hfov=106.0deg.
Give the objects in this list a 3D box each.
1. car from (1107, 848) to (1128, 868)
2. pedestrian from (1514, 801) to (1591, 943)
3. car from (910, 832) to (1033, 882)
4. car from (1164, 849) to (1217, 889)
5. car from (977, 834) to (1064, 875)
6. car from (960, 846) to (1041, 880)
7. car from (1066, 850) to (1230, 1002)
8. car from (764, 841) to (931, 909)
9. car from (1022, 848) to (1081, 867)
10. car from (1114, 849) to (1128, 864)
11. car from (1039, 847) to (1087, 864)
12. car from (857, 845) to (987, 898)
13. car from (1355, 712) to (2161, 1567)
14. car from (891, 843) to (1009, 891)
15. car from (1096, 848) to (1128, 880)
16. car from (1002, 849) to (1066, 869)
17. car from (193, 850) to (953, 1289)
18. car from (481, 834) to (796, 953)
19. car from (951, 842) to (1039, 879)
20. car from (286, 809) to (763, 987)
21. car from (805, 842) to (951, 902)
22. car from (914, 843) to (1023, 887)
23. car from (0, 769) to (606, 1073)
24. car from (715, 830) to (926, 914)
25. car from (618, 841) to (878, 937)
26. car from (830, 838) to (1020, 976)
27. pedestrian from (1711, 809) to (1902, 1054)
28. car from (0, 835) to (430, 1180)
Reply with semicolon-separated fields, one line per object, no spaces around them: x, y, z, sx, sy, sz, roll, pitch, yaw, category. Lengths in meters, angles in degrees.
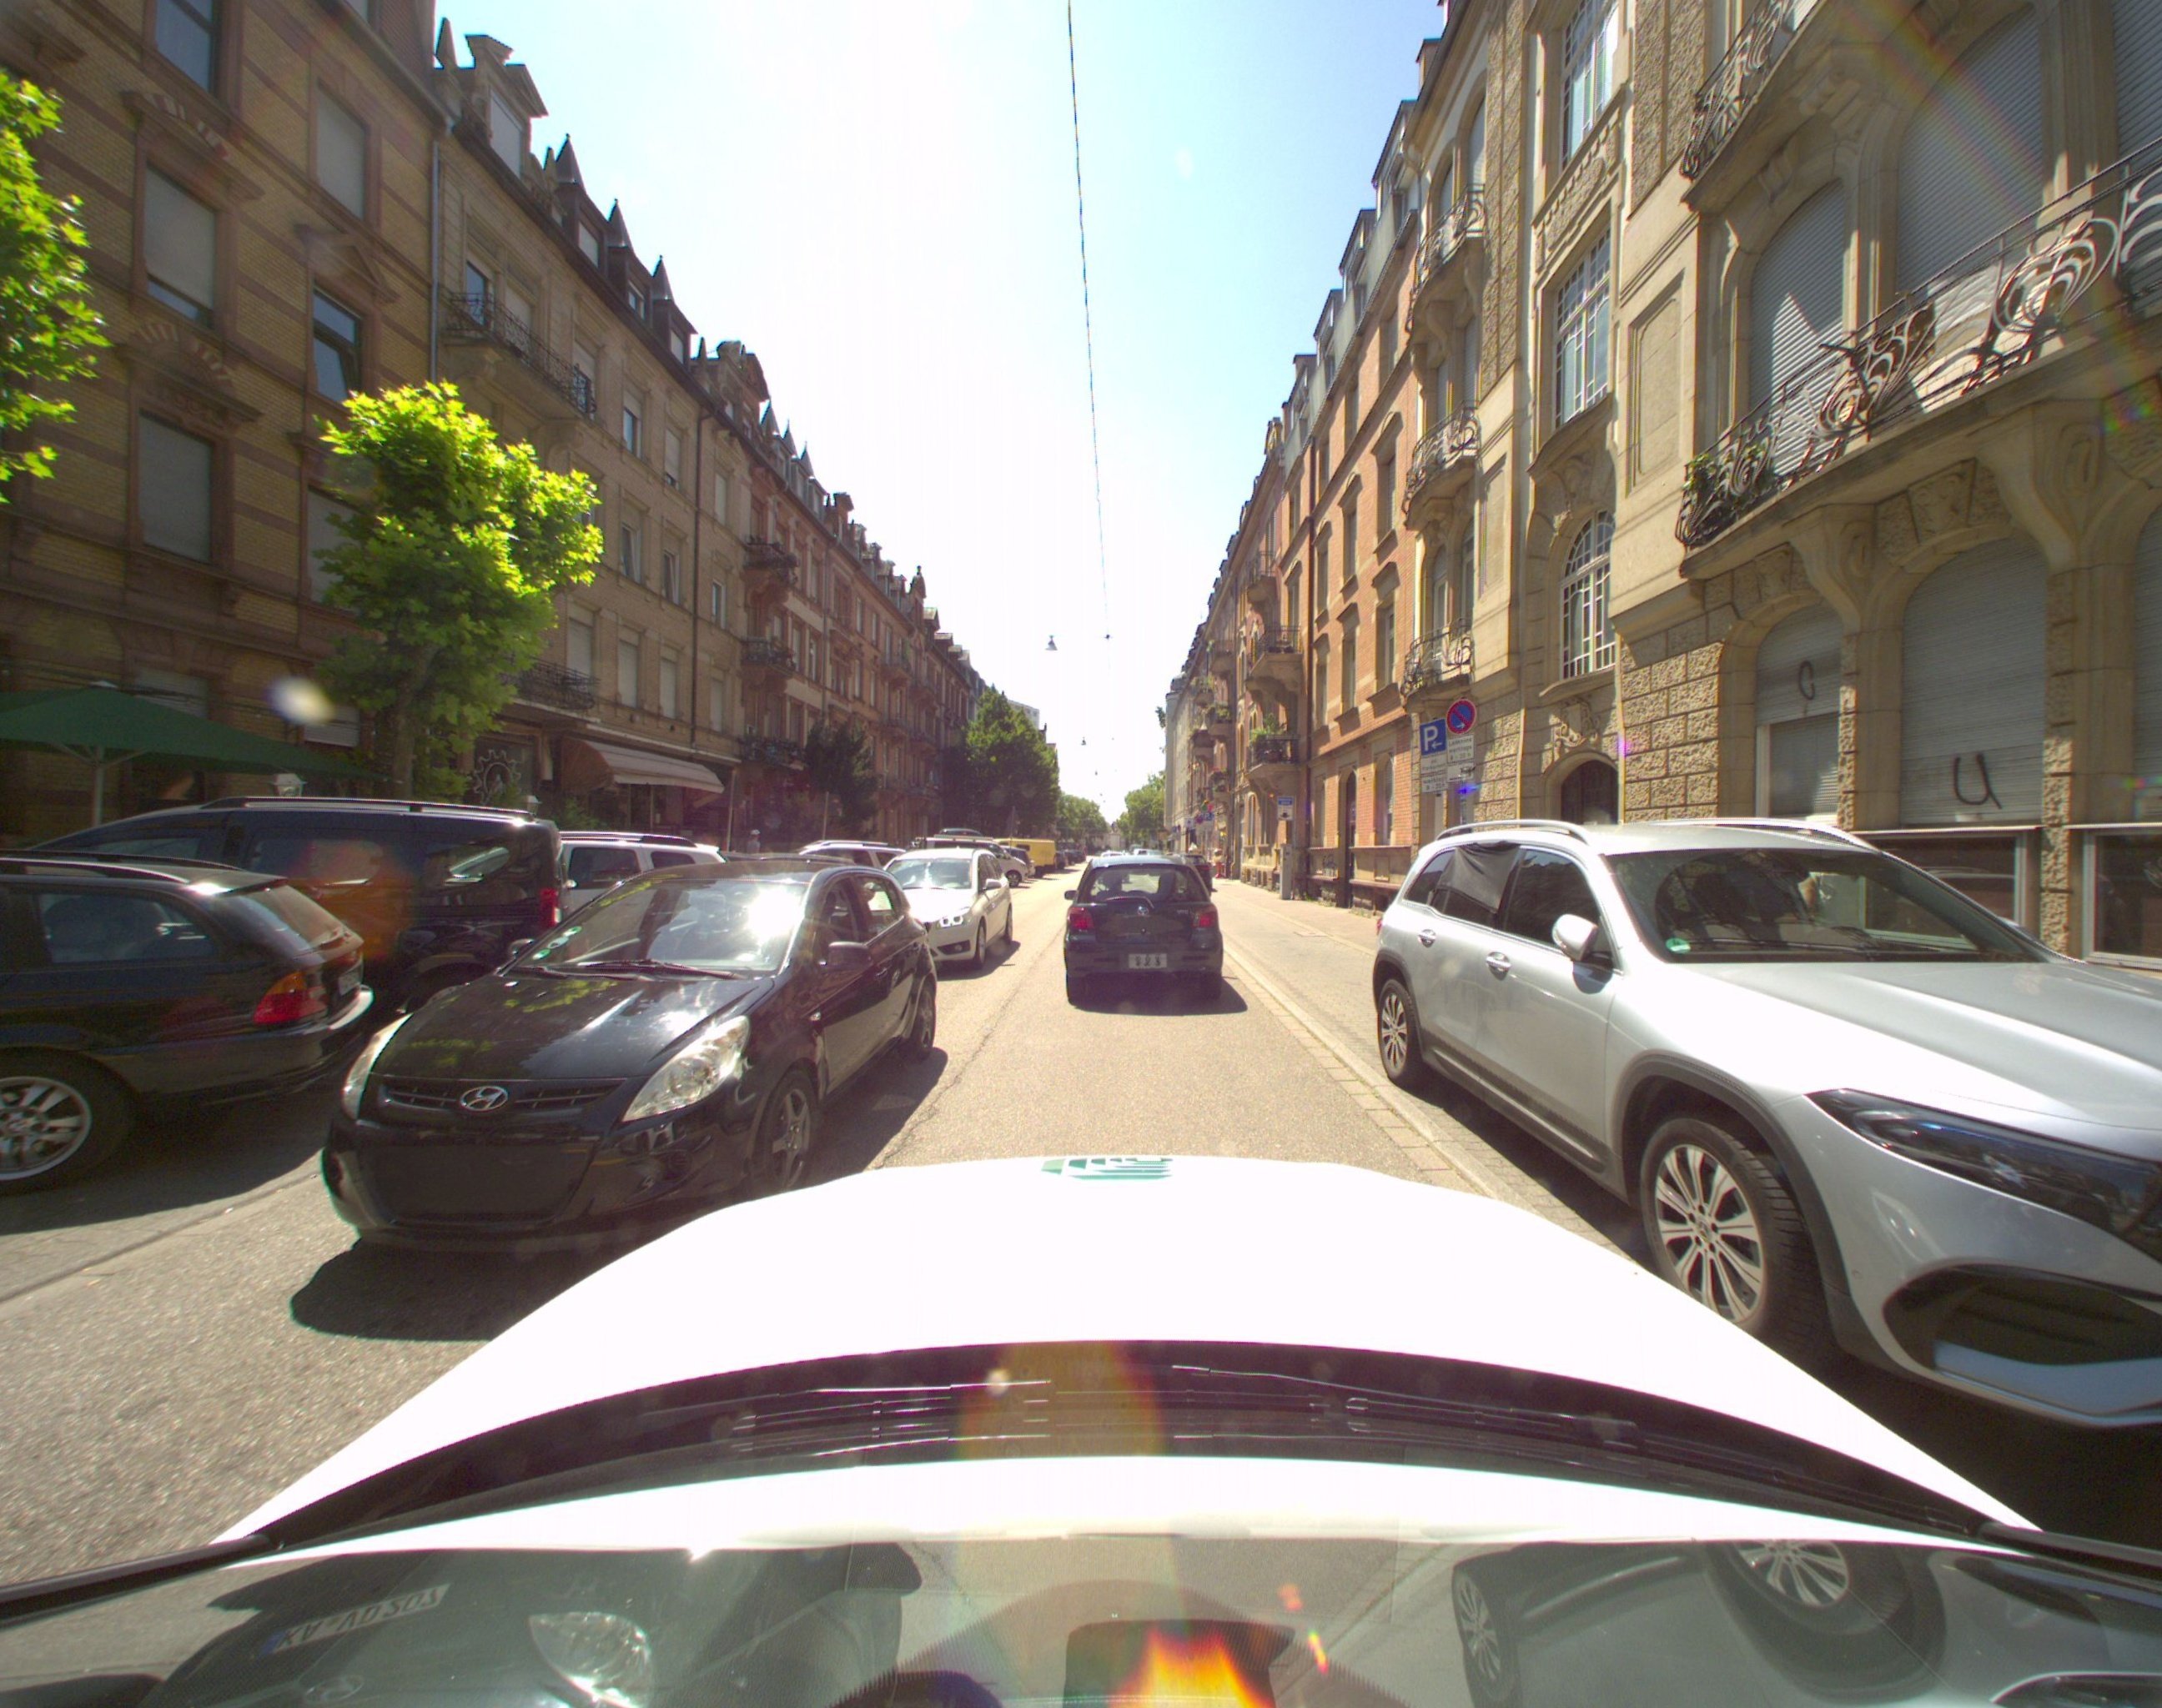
3.026;0.300;67.000;1.515;1.592;3.269;1;1;5;car
6.046;0.215;10.470;0.511;1.750;0.748;-1;1;-5;pedestrian
-4.651;0.131;34.672;4.798;1.994;2.036;1;0;-26;car
4.254;0.546;32.116;1.747;1.429;4.003;1;0;3;car
-3.455;0.038;46.665;4.579;2.187;1.984;1;0;-25;car
-4.219;0.481;42.550;3.876;1.640;1.773;1;0;-21;car
0.664;0.698;9.609;1.608;1.485;3.240;0;0;0;car
-6.009;0.541;20.953;3.924;1.619;1.853;1;0;-21;car
-2.520;0.291;68.966;4.579;1.428;1.984;1;0;-25;car
4.400;0.277;90.058;1.517;1.592;3.265;1;1;1;car
-1.928;0.178;86.112;4.628;1.726;1.984;1;0;-25;car
-5.227;0.563;26.714;3.924;1.619;1.853;1;0;-21;car
2.863;0.561;3.856;1.863;1.713;4.508;0;0;4;car
-4.783;0.469;29.610;3.924;1.619;1.853;1;0;-21;car
1.561;0.463;40.666;1.516;1.521;3.266;1;1;2;car
-3.631;0.396;63.411;4.579;1.434;1.984;1;0;-25;car
-2.041;0.713;4.749;1.747;1.444;4.003;1;0;3;car
-6.118;0.546;11.613;3.638;1.458;1.611;3;0;-27;car
-4.240;0.303;39.945;3.924;1.708;1.853;1;0;-21;car
-5.762;0.479;9.087;4.001;1.658;1.748;3;0;-21;car
-5.940;0.515;23.786;3.924;1.619;1.853;1;0;-21;car
-4.441;0.427;32.139;3.924;1.619;1.853;1;0;-21;car
-5.946;0.415;6.108;4.011;1.804;1.752;3;0;-30;car
-5.564;0.365;17.605;3.941;1.619;1.845;1;0;-38;car
-5.848;0.563;14.440;3.939;1.470;1.846;1;0;-35;car
-2.086;0.649;12.189;1.747;1.645;4.381;-2;0;3;car
5.150;0.512;5.835;0.638;1.623;0.804;1;0;3;pedestrian
-5.876;0.623;3.874;4.011;1.412;1.953;3;0;-30;car
